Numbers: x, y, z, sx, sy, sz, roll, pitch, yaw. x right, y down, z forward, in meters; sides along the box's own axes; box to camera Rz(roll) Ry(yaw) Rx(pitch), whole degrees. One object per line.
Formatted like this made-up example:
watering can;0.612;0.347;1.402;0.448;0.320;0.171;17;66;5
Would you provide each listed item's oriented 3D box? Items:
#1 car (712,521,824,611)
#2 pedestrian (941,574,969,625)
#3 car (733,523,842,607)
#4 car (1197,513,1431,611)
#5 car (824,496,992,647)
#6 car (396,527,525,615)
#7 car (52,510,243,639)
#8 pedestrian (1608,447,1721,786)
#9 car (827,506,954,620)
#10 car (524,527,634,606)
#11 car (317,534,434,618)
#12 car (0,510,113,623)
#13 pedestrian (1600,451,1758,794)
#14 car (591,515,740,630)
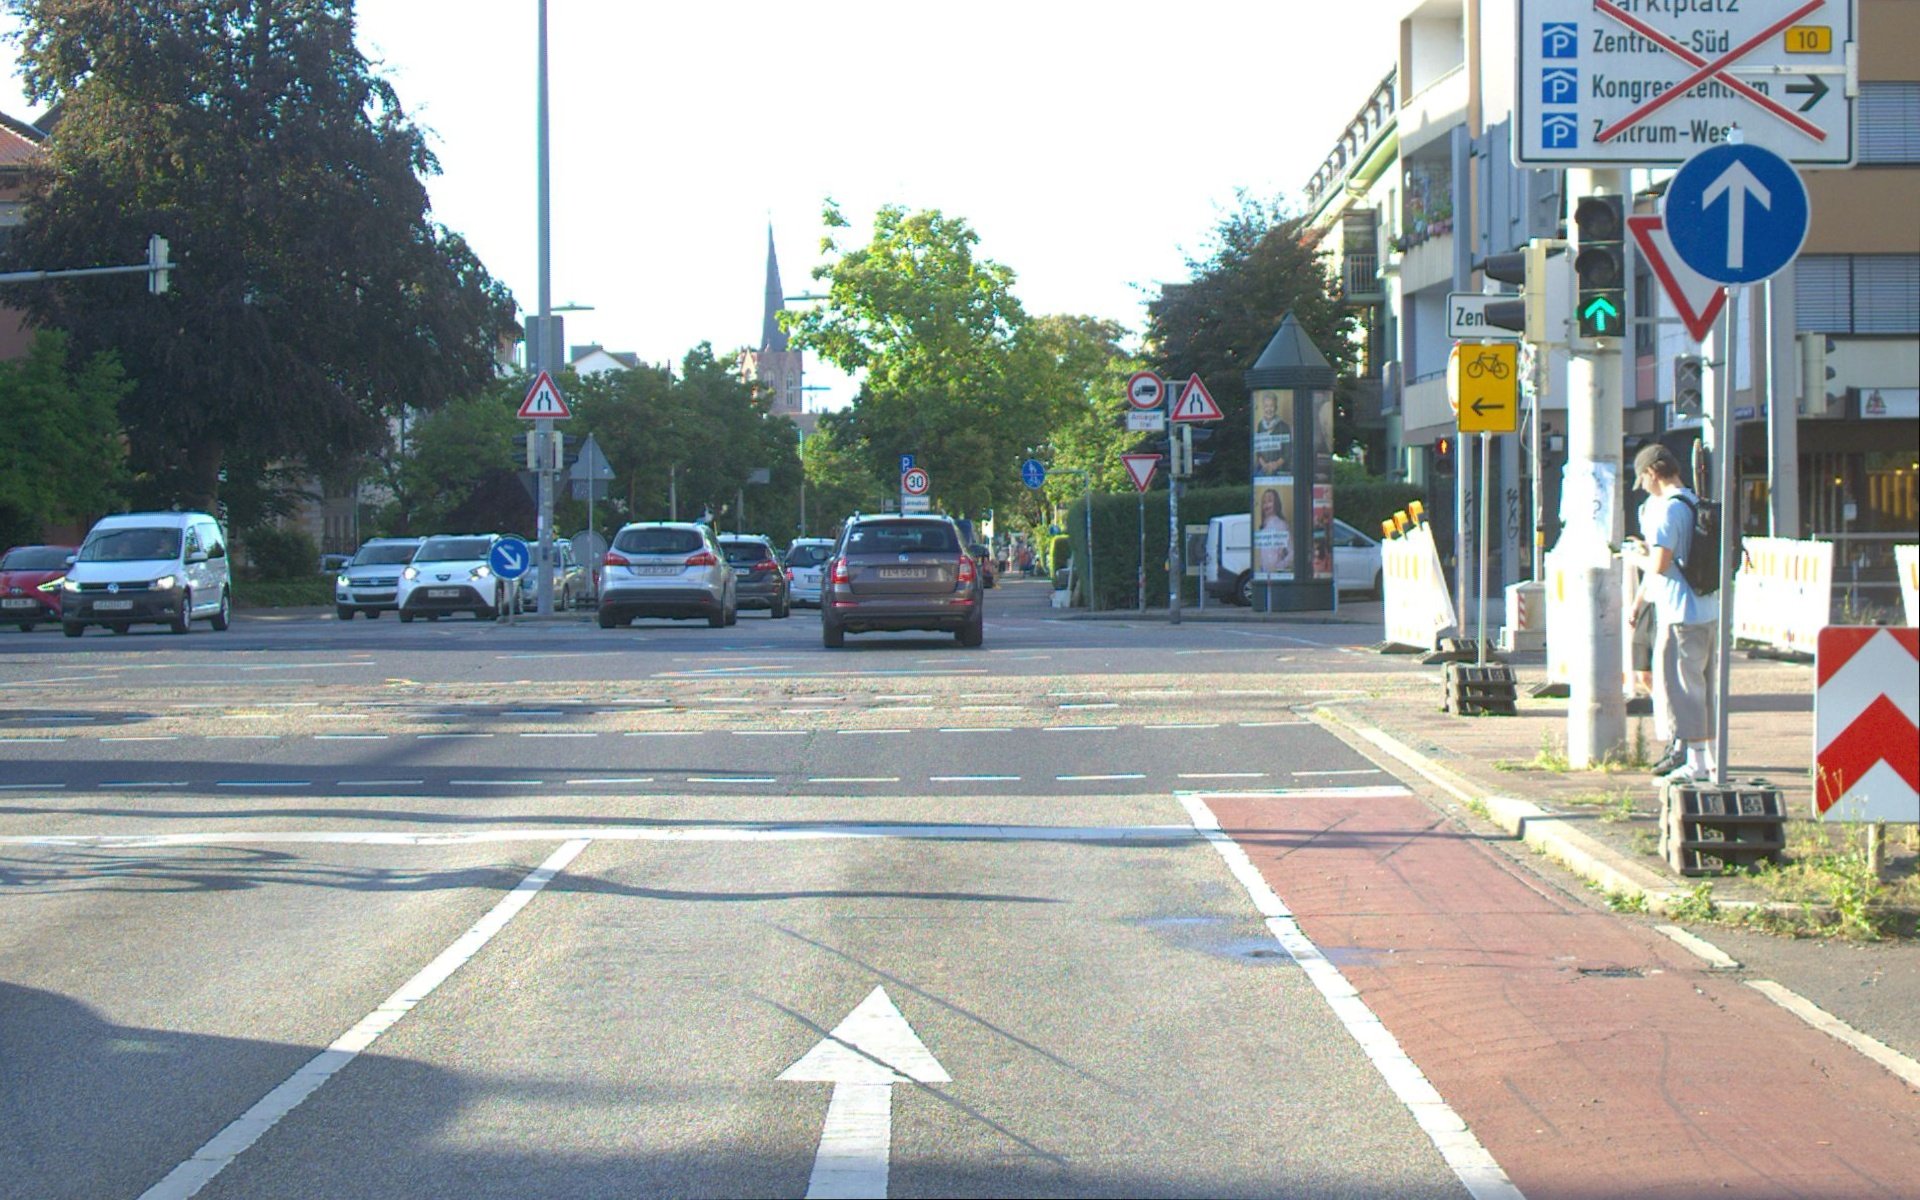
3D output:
car;-3.416;-0.634;61.824;1.748;1.559;4.050;-1;1;0
pedestrian;-0.168;-0.020;109.962;0.862;1.602;0.705;-1;1;-2
car;-3.404;-0.672;68.507;1.993;1.503;4.000;-2;-1;-1
car;6.978;-0.765;68.071;4.363;1.871;2.000;-1;1;-1
car;-0.534;-0.342;38.053;1.748;1.559;4.050;-1;1;0
car;-8.695;-0.535;60.083;1.847;1.456;4.050;-1;1;-3
car;-12.003;-0.407;51.072;1.915;1.805;4.718;-1;1;-3
pedestrian;3.937;0.087;19.240;0.520;1.862;0.614;-1;1;3
car;-1.044;-0.574;51.737;1.819;1.634;4.000;-1;1;-1
car;-7.305;-0.662;66.254;1.847;1.456;4.050;-1;1;-3
car;-11.961;-0.512;70.586;1.880;1.648;4.050;-1;1;-3
car;-15.405;-0.578;57.267;1.748;1.805;4.050;-1;1;-3
pedestrian;3.857;0.113;18.415;0.741;1.793;0.715;0;1;19
car;-4.169;-0.414;49.168;1.748;1.559;4.050;-1;1;0
